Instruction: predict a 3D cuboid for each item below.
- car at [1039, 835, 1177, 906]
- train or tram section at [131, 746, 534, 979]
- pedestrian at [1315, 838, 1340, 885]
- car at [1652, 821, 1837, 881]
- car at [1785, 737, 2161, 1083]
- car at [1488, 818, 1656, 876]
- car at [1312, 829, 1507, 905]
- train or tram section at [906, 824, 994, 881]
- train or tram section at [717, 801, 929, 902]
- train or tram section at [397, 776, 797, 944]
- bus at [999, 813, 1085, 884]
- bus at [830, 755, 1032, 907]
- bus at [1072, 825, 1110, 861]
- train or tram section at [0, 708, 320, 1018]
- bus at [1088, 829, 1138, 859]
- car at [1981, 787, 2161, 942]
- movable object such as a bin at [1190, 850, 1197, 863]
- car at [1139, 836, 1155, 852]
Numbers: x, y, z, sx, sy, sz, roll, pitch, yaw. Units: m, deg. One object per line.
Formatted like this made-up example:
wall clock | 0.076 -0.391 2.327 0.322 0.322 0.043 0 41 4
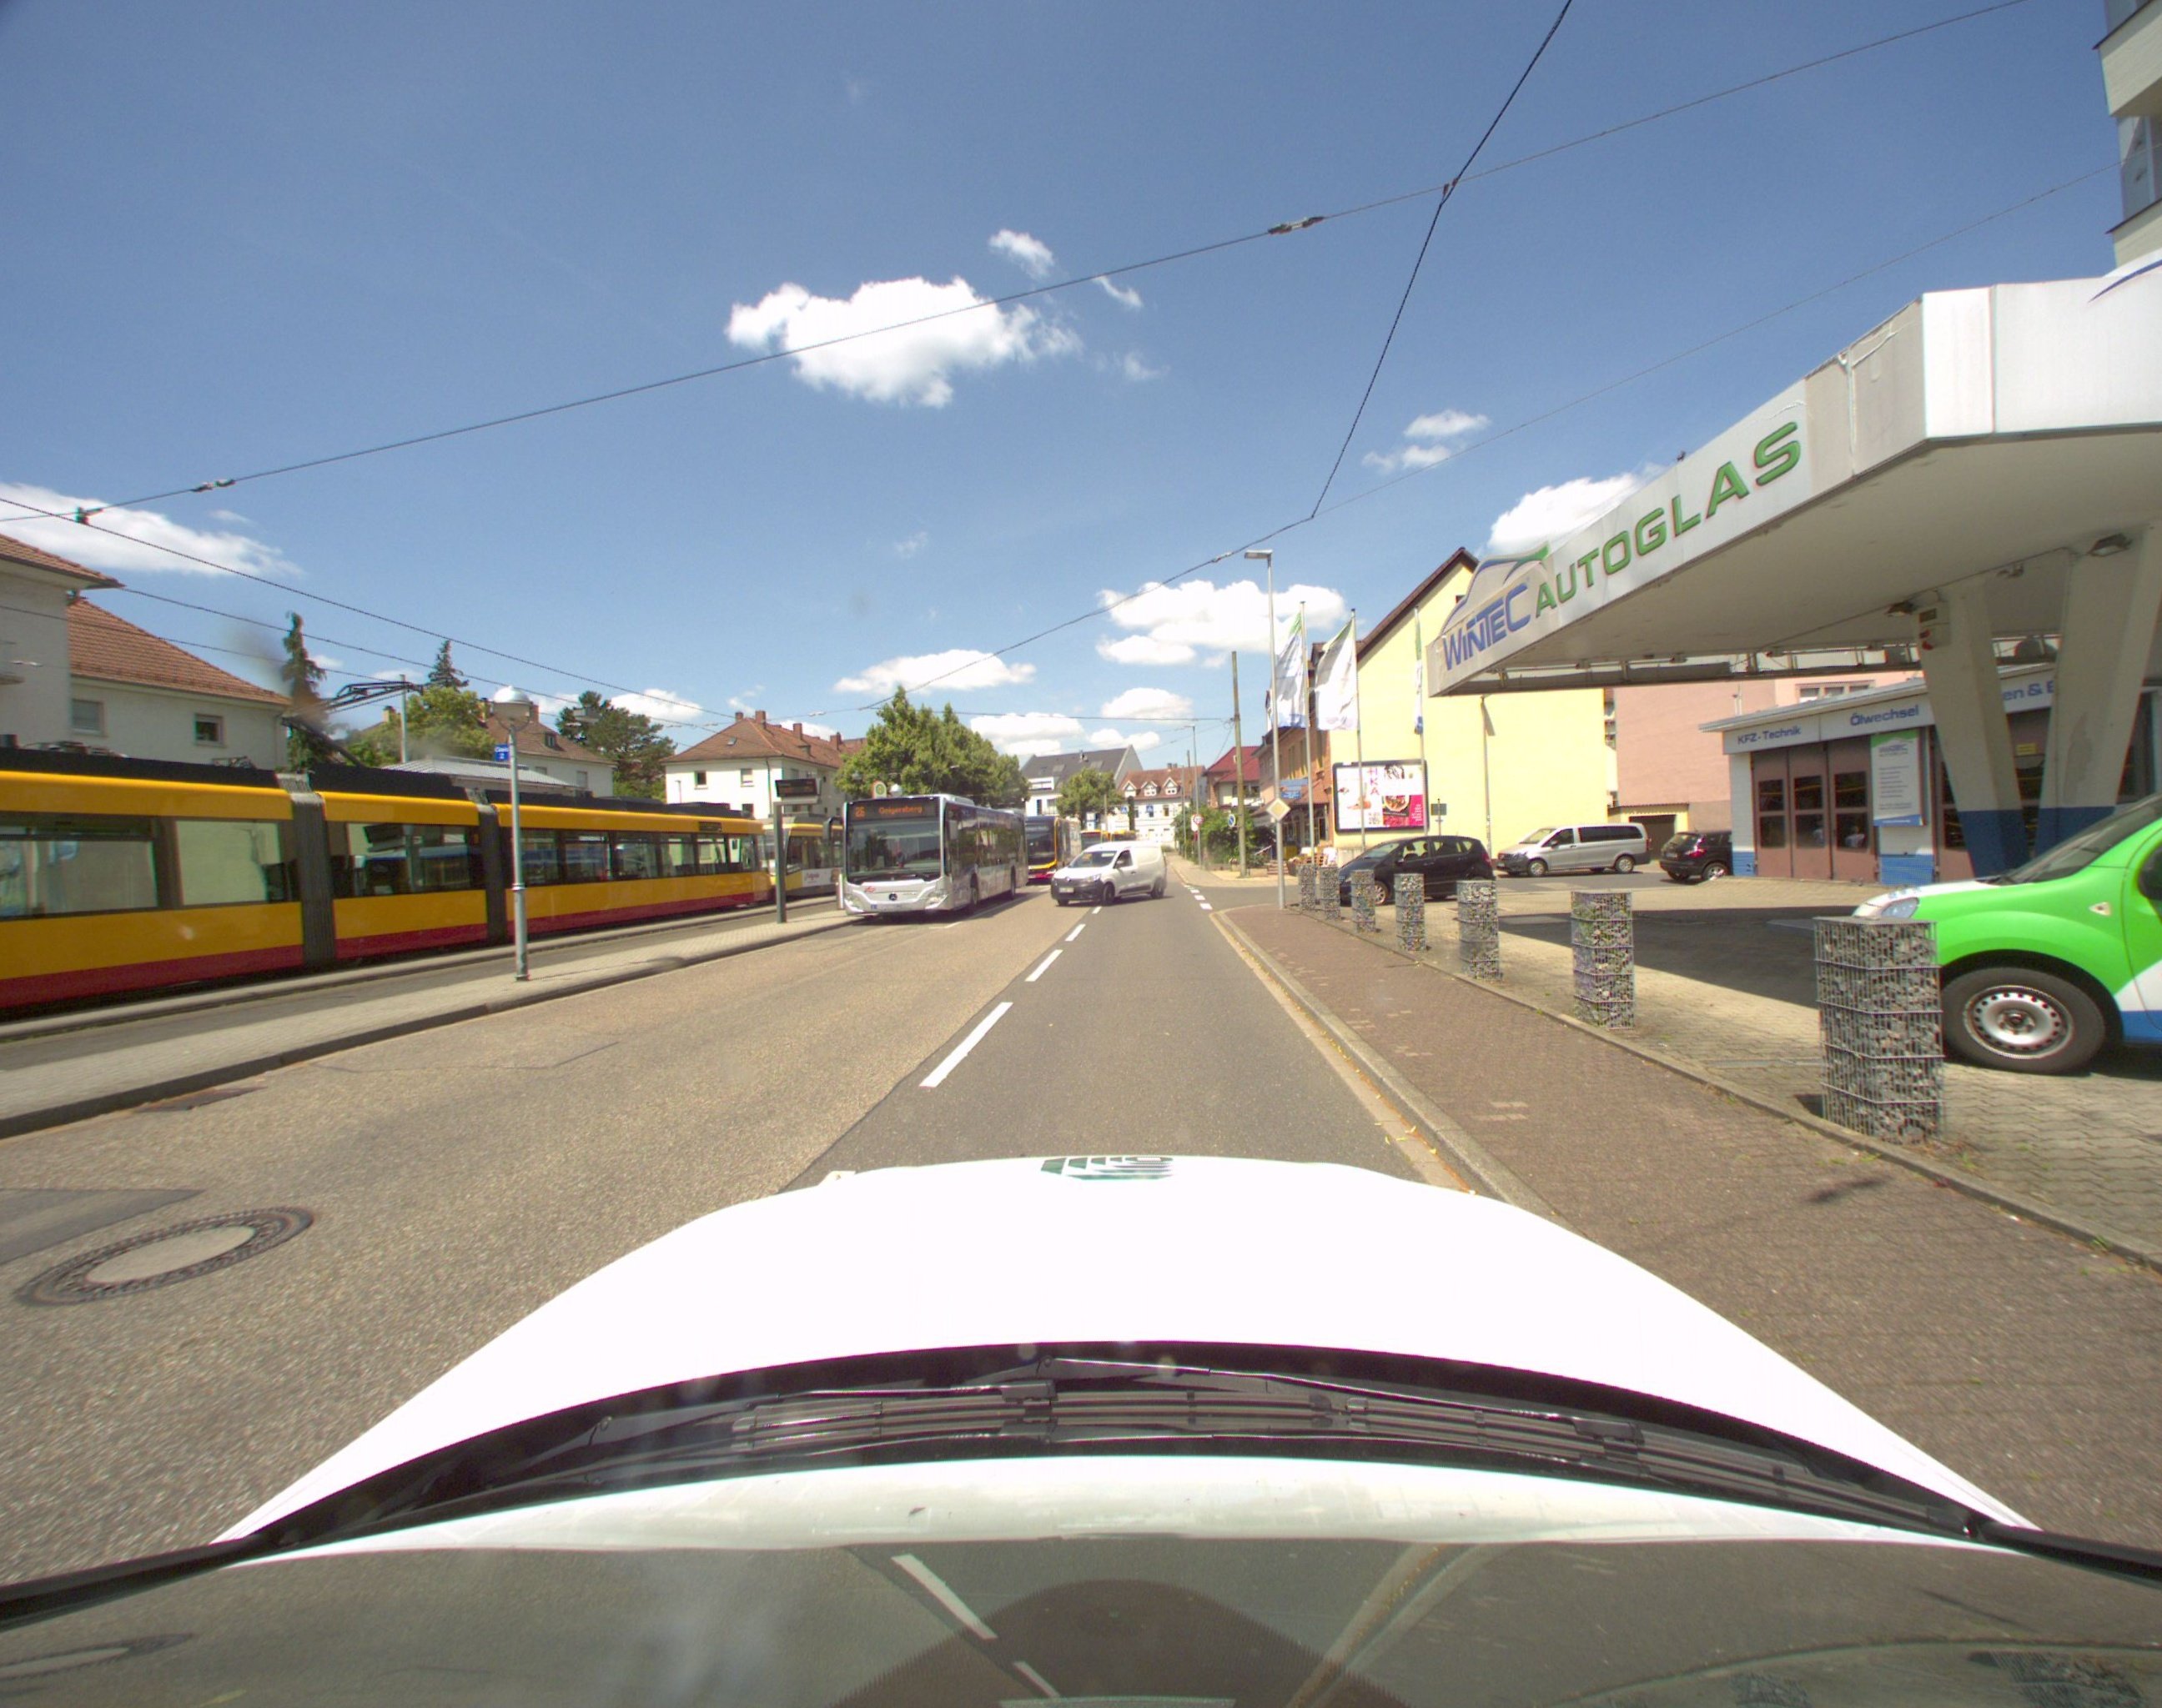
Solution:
car | 0.929 0.402 24.198 1.687 1.850 4.743 -1 1 36
train or tram section | -13.154 0.131 14.873 2.949 3.495 4.423 -3 0 5
pedestrian | 8.904 0.261 29.372 0.698 1.641 0.664 -3 2 25
car | 19.608 -0.074 24.213 3.855 1.543 1.846 -2 0 7
car | 6.699 0.286 4.420 4.236 1.790 1.834 -1 -1 44
car | 18.137 -0.240 30.282 5.035 1.861 1.909 -2 0 1
car | 7.720 0.293 19.316 3.874 1.543 1.837 -2 0 -8
train or tram section | -9.152 -0.134 59.265 2.949 3.642 14.014 0 0 5
train or tram section | -11.006 -0.131 38.218 2.949 3.642 17.376 0 0 5
train or tram section | -12.345 0.092 23.337 2.949 3.495 12.675 0 0 5
bus | -1.776 -0.180 43.709 2.884 3.247 12.214 0 -1 5
bus | -3.784 -0.459 24.460 2.894 3.427 12.054 0 -1 5
bus | 1.162 -1.021 79.930 2.894 3.247 12.134 0 0 5
train or tram section | -13.893 0.128 6.437 2.949 3.495 12.731 0 0 5
bus | 3.876 -1.262 93.384 2.758 3.208 12.362 0 2 17
car | 12.192 0.085 8.031 1.737 1.626 4.713 -2 0 6
movable object such as a bin | 8.317 0.216 60.181 0.405 0.907 0.730 -6 -1 2
car | 8.849 -1.348 109.035 1.984 2.014 4.006 0 -1 6
